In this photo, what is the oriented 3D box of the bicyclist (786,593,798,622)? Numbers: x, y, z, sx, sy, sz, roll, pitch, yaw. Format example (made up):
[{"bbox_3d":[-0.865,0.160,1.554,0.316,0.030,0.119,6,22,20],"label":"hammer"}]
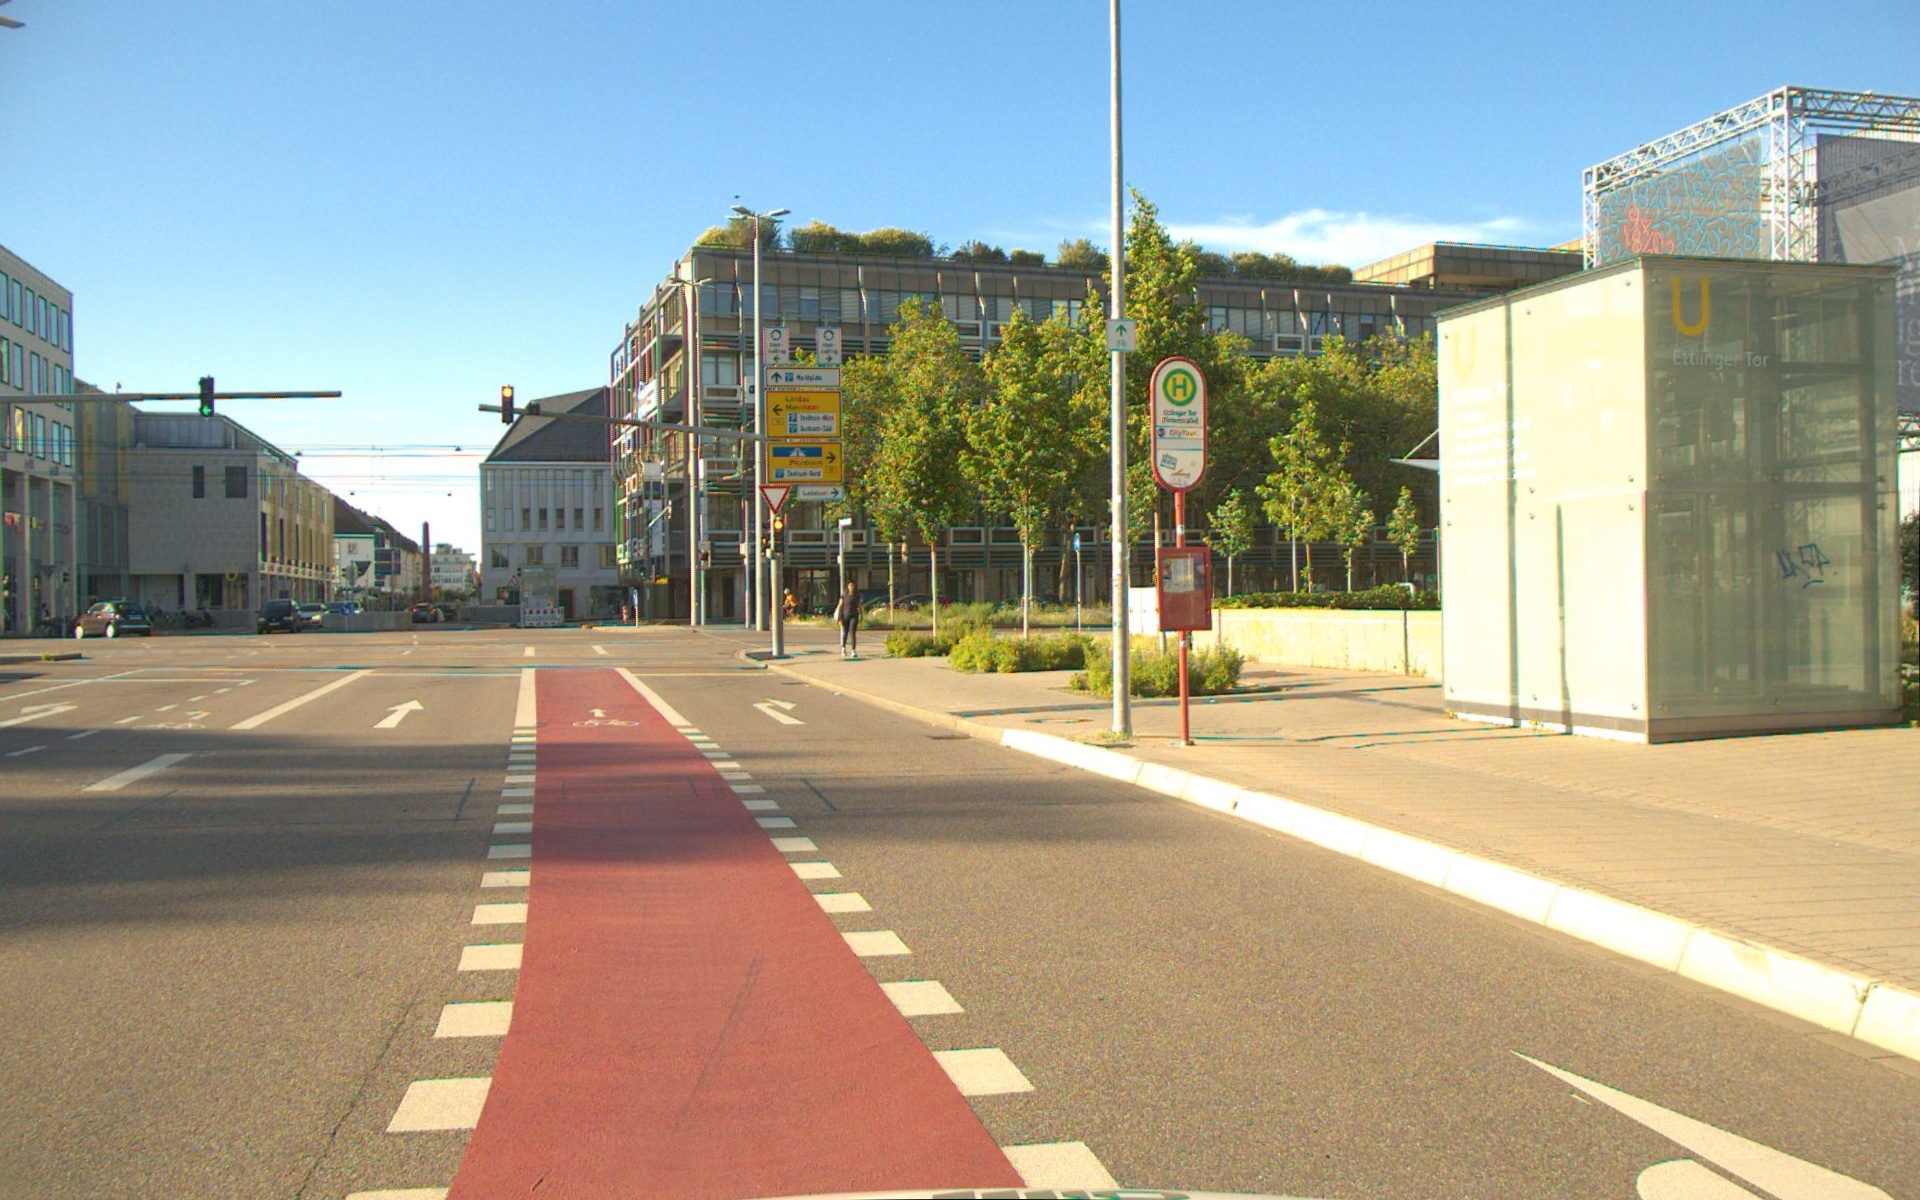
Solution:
[{"bbox_3d":[-7.779,0.339,76.408,0.499,1.361,0.451,-1,0,-12],"label":"bicyclist"}]

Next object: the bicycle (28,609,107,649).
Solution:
[{"bbox_3d":[-47.859,1.534,88.736,3.570,2.049,1.079,-1,0,-22],"label":"bicycle"}]

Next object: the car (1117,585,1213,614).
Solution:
[{"bbox_3d":[10.593,-0.033,85.464,4.559,1.380,1.990,-1,1,-18],"label":"car"}]

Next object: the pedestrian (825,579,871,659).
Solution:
[{"bbox_3d":[-2.563,0.422,37.872,0.804,1.779,1.042,-2,0,7],"label":"pedestrian"}]

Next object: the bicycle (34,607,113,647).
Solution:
[{"bbox_3d":[-48.223,1.475,90.019,3.565,2.049,1.081,-1,0,-19],"label":"bicycle"}]

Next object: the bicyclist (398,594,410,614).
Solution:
[{"bbox_3d":[-40.126,0.291,119.348,0.734,1.486,0.763,-1,0,-17],"label":"bicyclist"}]

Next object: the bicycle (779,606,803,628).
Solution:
[{"bbox_3d":[-7.822,0.785,76.391,1.057,0.988,0.457,-1,0,-12],"label":"bicycle"}]

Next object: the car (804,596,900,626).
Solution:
[{"bbox_3d":[-5.480,0.557,83.861,4.559,1.380,1.990,-1,1,-18],"label":"car"}]

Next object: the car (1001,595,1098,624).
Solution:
[{"bbox_3d":[4.551,0.470,84.066,4.559,1.380,1.990,-1,1,-18],"label":"car"}]

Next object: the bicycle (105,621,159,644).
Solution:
[{"bbox_3d":[-53.709,2.107,107.313,3.004,1.425,0.898,-1,0,-19],"label":"bicycle"}]

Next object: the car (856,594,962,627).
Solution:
[{"bbox_3d":[-2.386,0.469,76.800,4.559,1.380,1.990,-1,1,-18],"label":"car"}]

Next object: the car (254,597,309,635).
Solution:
[{"bbox_3d":[-34.751,0.797,84.864,1.960,1.772,4.629,-1,2,-14],"label":"car"}]

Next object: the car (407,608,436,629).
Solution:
[{"bbox_3d":[-42.541,1.445,130.623,1.964,1.579,3.976,-1,0,-20],"label":"car"}]

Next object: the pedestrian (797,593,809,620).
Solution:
[{"bbox_3d":[-9.009,0.367,94.935,0.611,1.545,0.653,-1,0,-6],"label":"pedestrian"}]

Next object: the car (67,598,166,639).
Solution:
[{"bbox_3d":[-34.442,0.754,67.539,3.703,1.591,1.780,-1,0,27],"label":"car"}]

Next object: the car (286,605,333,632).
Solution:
[{"bbox_3d":[-38.469,1.063,97.945,1.960,1.380,4.630,-1,2,-14],"label":"car"}]
